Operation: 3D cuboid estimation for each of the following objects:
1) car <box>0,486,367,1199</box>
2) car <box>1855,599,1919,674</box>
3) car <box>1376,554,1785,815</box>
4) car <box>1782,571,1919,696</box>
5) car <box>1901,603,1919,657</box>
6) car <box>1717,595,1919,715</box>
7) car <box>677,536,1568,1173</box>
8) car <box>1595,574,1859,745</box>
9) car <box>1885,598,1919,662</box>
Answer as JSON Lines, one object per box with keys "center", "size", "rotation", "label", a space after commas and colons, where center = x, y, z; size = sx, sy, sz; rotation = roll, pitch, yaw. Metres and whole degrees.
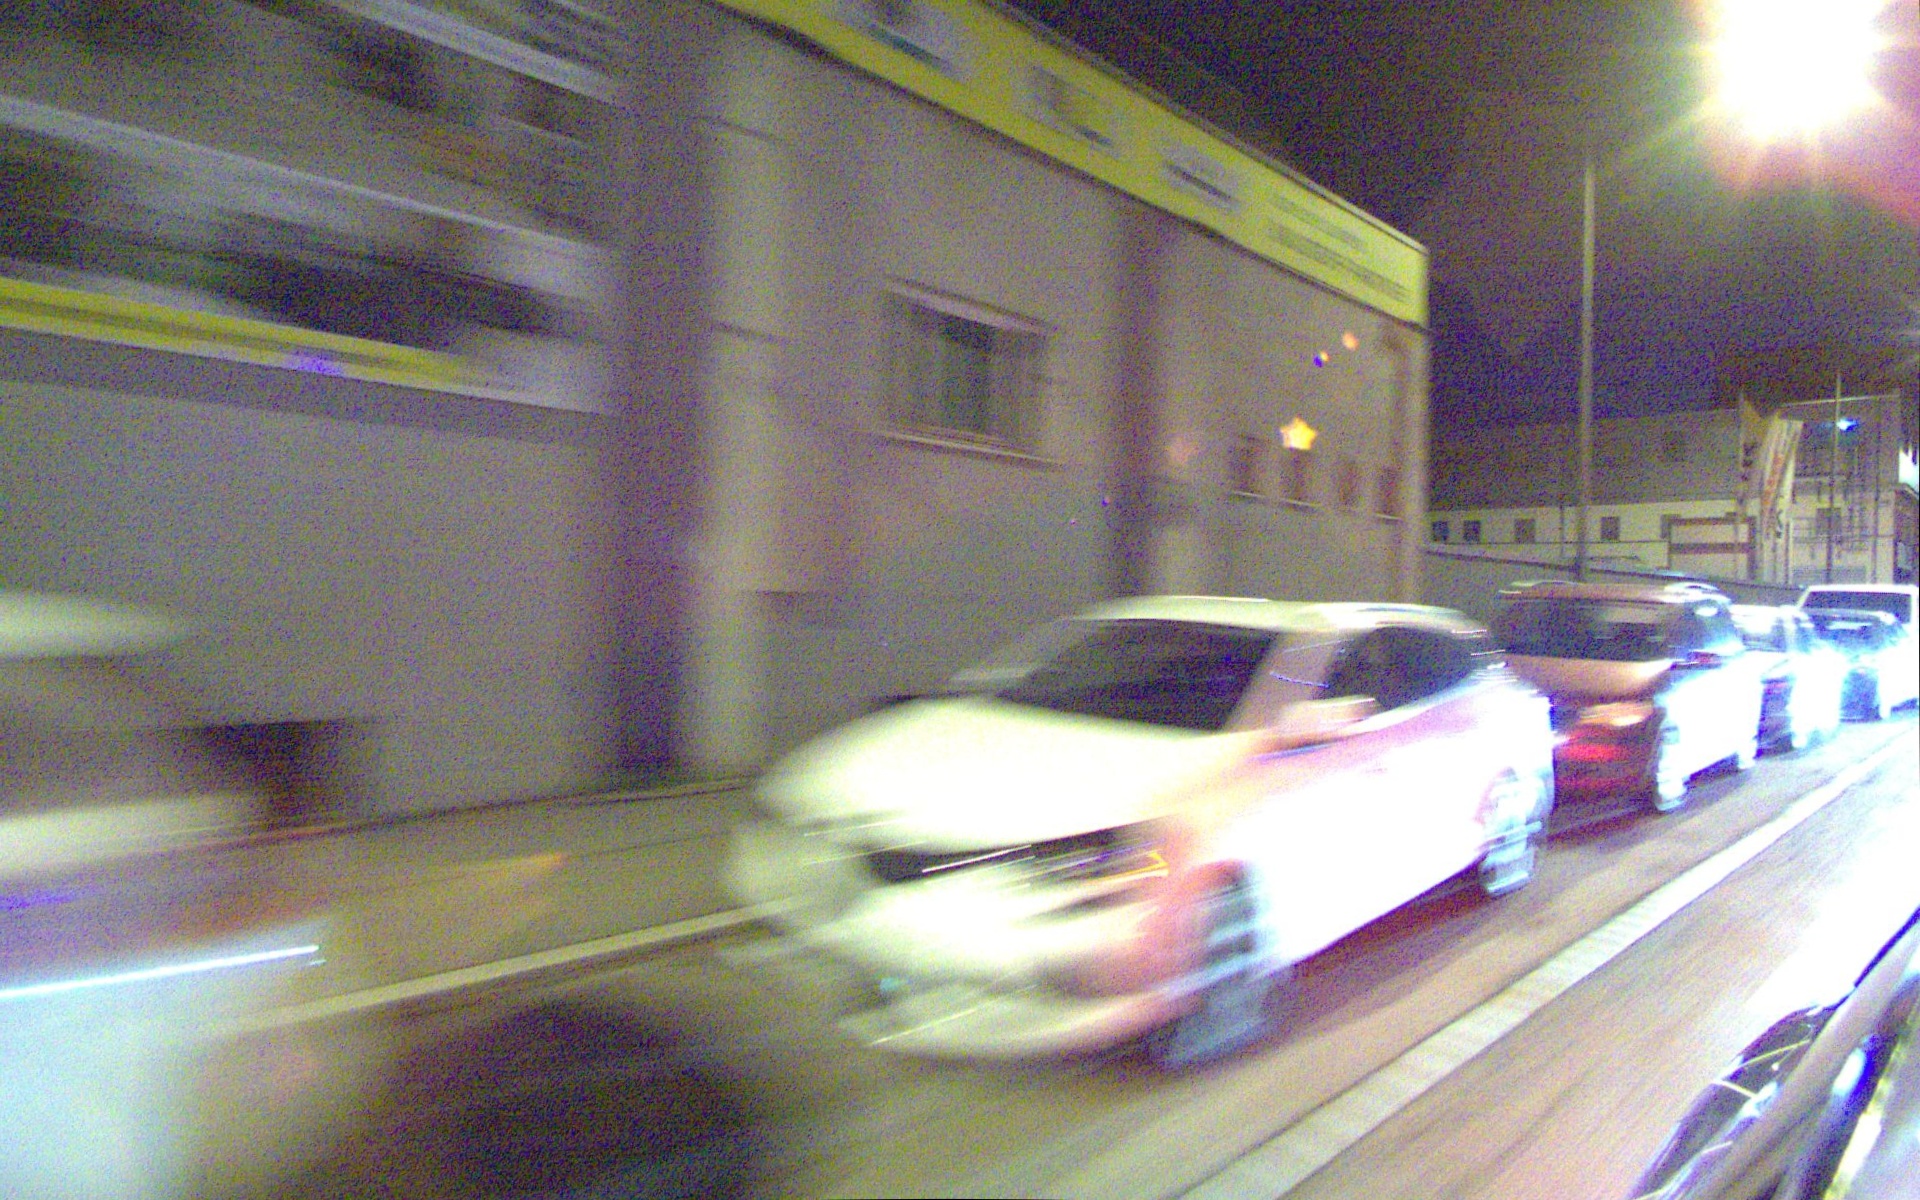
{"center": [-3.299, 0.586, 0.934], "size": [4.470, 1.507, 1.862], "rotation": [0, 1, -43], "label": "car"}
{"center": [20.849, 0.748, 21.986], "size": [3.823, 1.485, 1.598], "rotation": [0, 1, -40], "label": "car"}
{"center": [5.407, 0.523, 8.551], "size": [4.382, 1.643, 1.826], "rotation": [1, 1, -43], "label": "car"}
{"center": [16.318, 0.533, 17.998], "size": [4.690, 1.898, 1.804], "rotation": [1, 2, -41], "label": "car"}
{"center": [27.701, 0.825, 28.244], "size": [3.824, 1.444, 1.781], "rotation": [0, 1, -42], "label": "car"}
{"center": [12.851, 0.717, 14.804], "size": [4.112, 1.445, 1.821], "rotation": [1, 2, -39], "label": "car"}
{"center": [1.155, 0.601, 4.691], "size": [4.471, 1.563, 1.776], "rotation": [0, 1, -44], "label": "car"}
{"center": [9.217, 0.573, 11.999], "size": [4.552, 1.608, 1.825], "rotation": [1, 1, -45], "label": "car"}
{"center": [24.263, 0.721, 25.051], "size": [3.653, 1.485, 1.598], "rotation": [0, 1, -40], "label": "car"}
